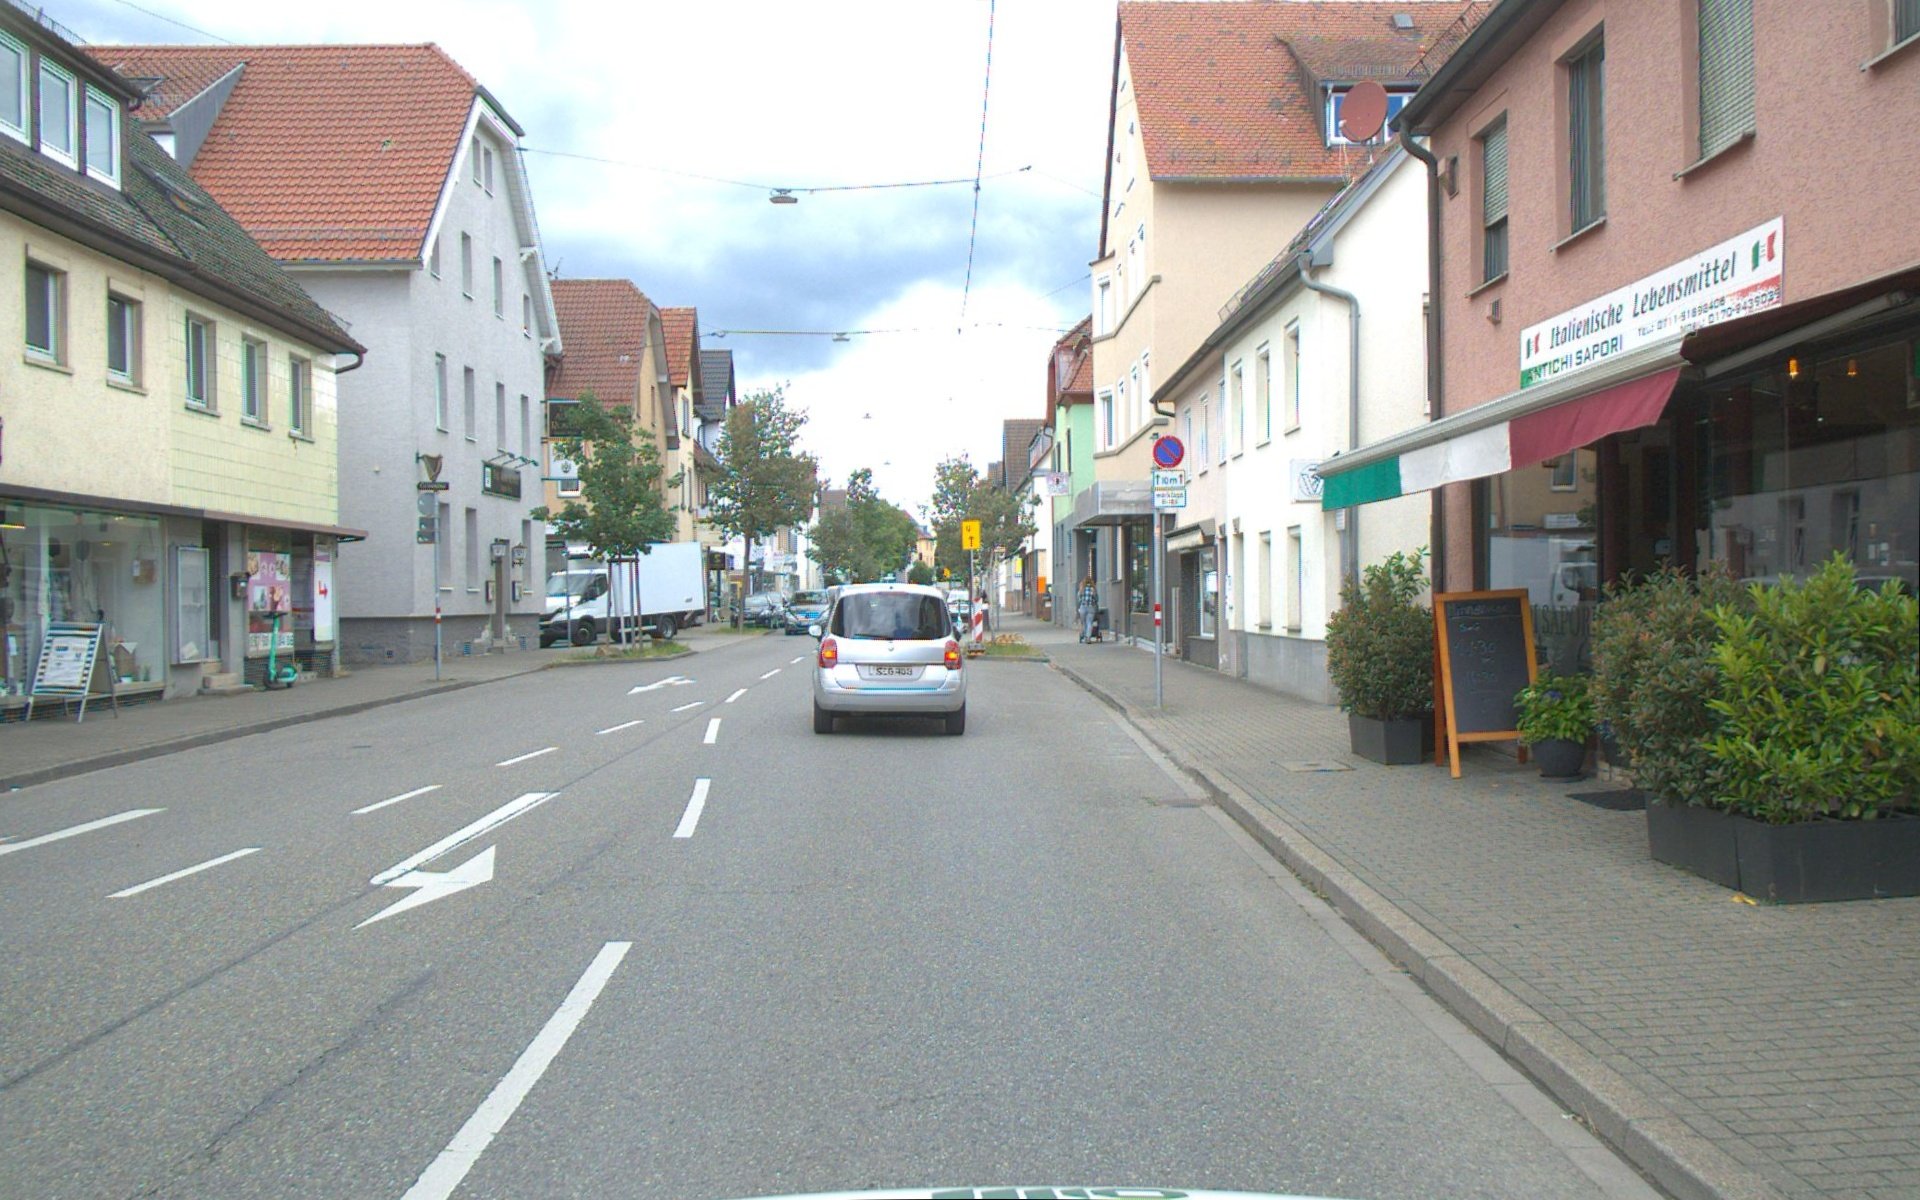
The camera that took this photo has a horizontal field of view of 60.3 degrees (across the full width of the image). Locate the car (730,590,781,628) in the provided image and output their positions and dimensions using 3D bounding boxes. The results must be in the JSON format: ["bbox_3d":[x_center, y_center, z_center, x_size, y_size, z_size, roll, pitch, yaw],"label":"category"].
[{"bbox_3d":[-8.362,0.363,67.849,1.648,1.449,3.930,-2,0,-2],"label":"car"}]

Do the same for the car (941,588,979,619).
[{"bbox_3d":[-0.009,0.164,81.191,1.793,1.471,4.331,1,0,0],"label":"car"}]

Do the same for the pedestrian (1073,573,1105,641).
[{"bbox_3d":[3.334,0.175,42.870,0.735,1.750,0.900,1,0,-1],"label":"pedestrian"}]

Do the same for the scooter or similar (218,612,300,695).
[{"bbox_3d":[-10.584,0.782,25.023,0.517,1.190,1.721,1,0,-1],"label":"scooter or similar"}]

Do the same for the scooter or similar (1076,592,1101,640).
[{"bbox_3d":[3.397,0.431,43.822,0.577,1.254,0.891,1,0,-2],"label":"scooter or similar"}]

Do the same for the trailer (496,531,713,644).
[{"bbox_3d":[-10.962,-0.350,51.712,2.457,3.275,7.120,1,0,30],"label":"trailer"}]

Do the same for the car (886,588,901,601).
[{"bbox_3d":[-9.033,-0.743,224.838,1.862,1.768,4.365,-2,0,0],"label":"car"}]

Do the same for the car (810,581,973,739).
[{"bbox_3d":[-0.704,0.611,18.936,1.648,1.593,3.993,1,0,0],"label":"car"}]

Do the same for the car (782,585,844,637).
[{"bbox_3d":[-5.350,0.391,60.722,1.953,1.827,4.276,-1,0,-1],"label":"car"}]

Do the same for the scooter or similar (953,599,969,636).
[{"bbox_3d":[0.039,0.614,58.412,0.492,1.257,1.942,1,0,-1],"label":"scooter or similar"}]

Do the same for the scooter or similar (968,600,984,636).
[{"bbox_3d":[0.562,0.620,58.431,0.492,1.257,1.942,1,0,-1],"label":"scooter or similar"}]
